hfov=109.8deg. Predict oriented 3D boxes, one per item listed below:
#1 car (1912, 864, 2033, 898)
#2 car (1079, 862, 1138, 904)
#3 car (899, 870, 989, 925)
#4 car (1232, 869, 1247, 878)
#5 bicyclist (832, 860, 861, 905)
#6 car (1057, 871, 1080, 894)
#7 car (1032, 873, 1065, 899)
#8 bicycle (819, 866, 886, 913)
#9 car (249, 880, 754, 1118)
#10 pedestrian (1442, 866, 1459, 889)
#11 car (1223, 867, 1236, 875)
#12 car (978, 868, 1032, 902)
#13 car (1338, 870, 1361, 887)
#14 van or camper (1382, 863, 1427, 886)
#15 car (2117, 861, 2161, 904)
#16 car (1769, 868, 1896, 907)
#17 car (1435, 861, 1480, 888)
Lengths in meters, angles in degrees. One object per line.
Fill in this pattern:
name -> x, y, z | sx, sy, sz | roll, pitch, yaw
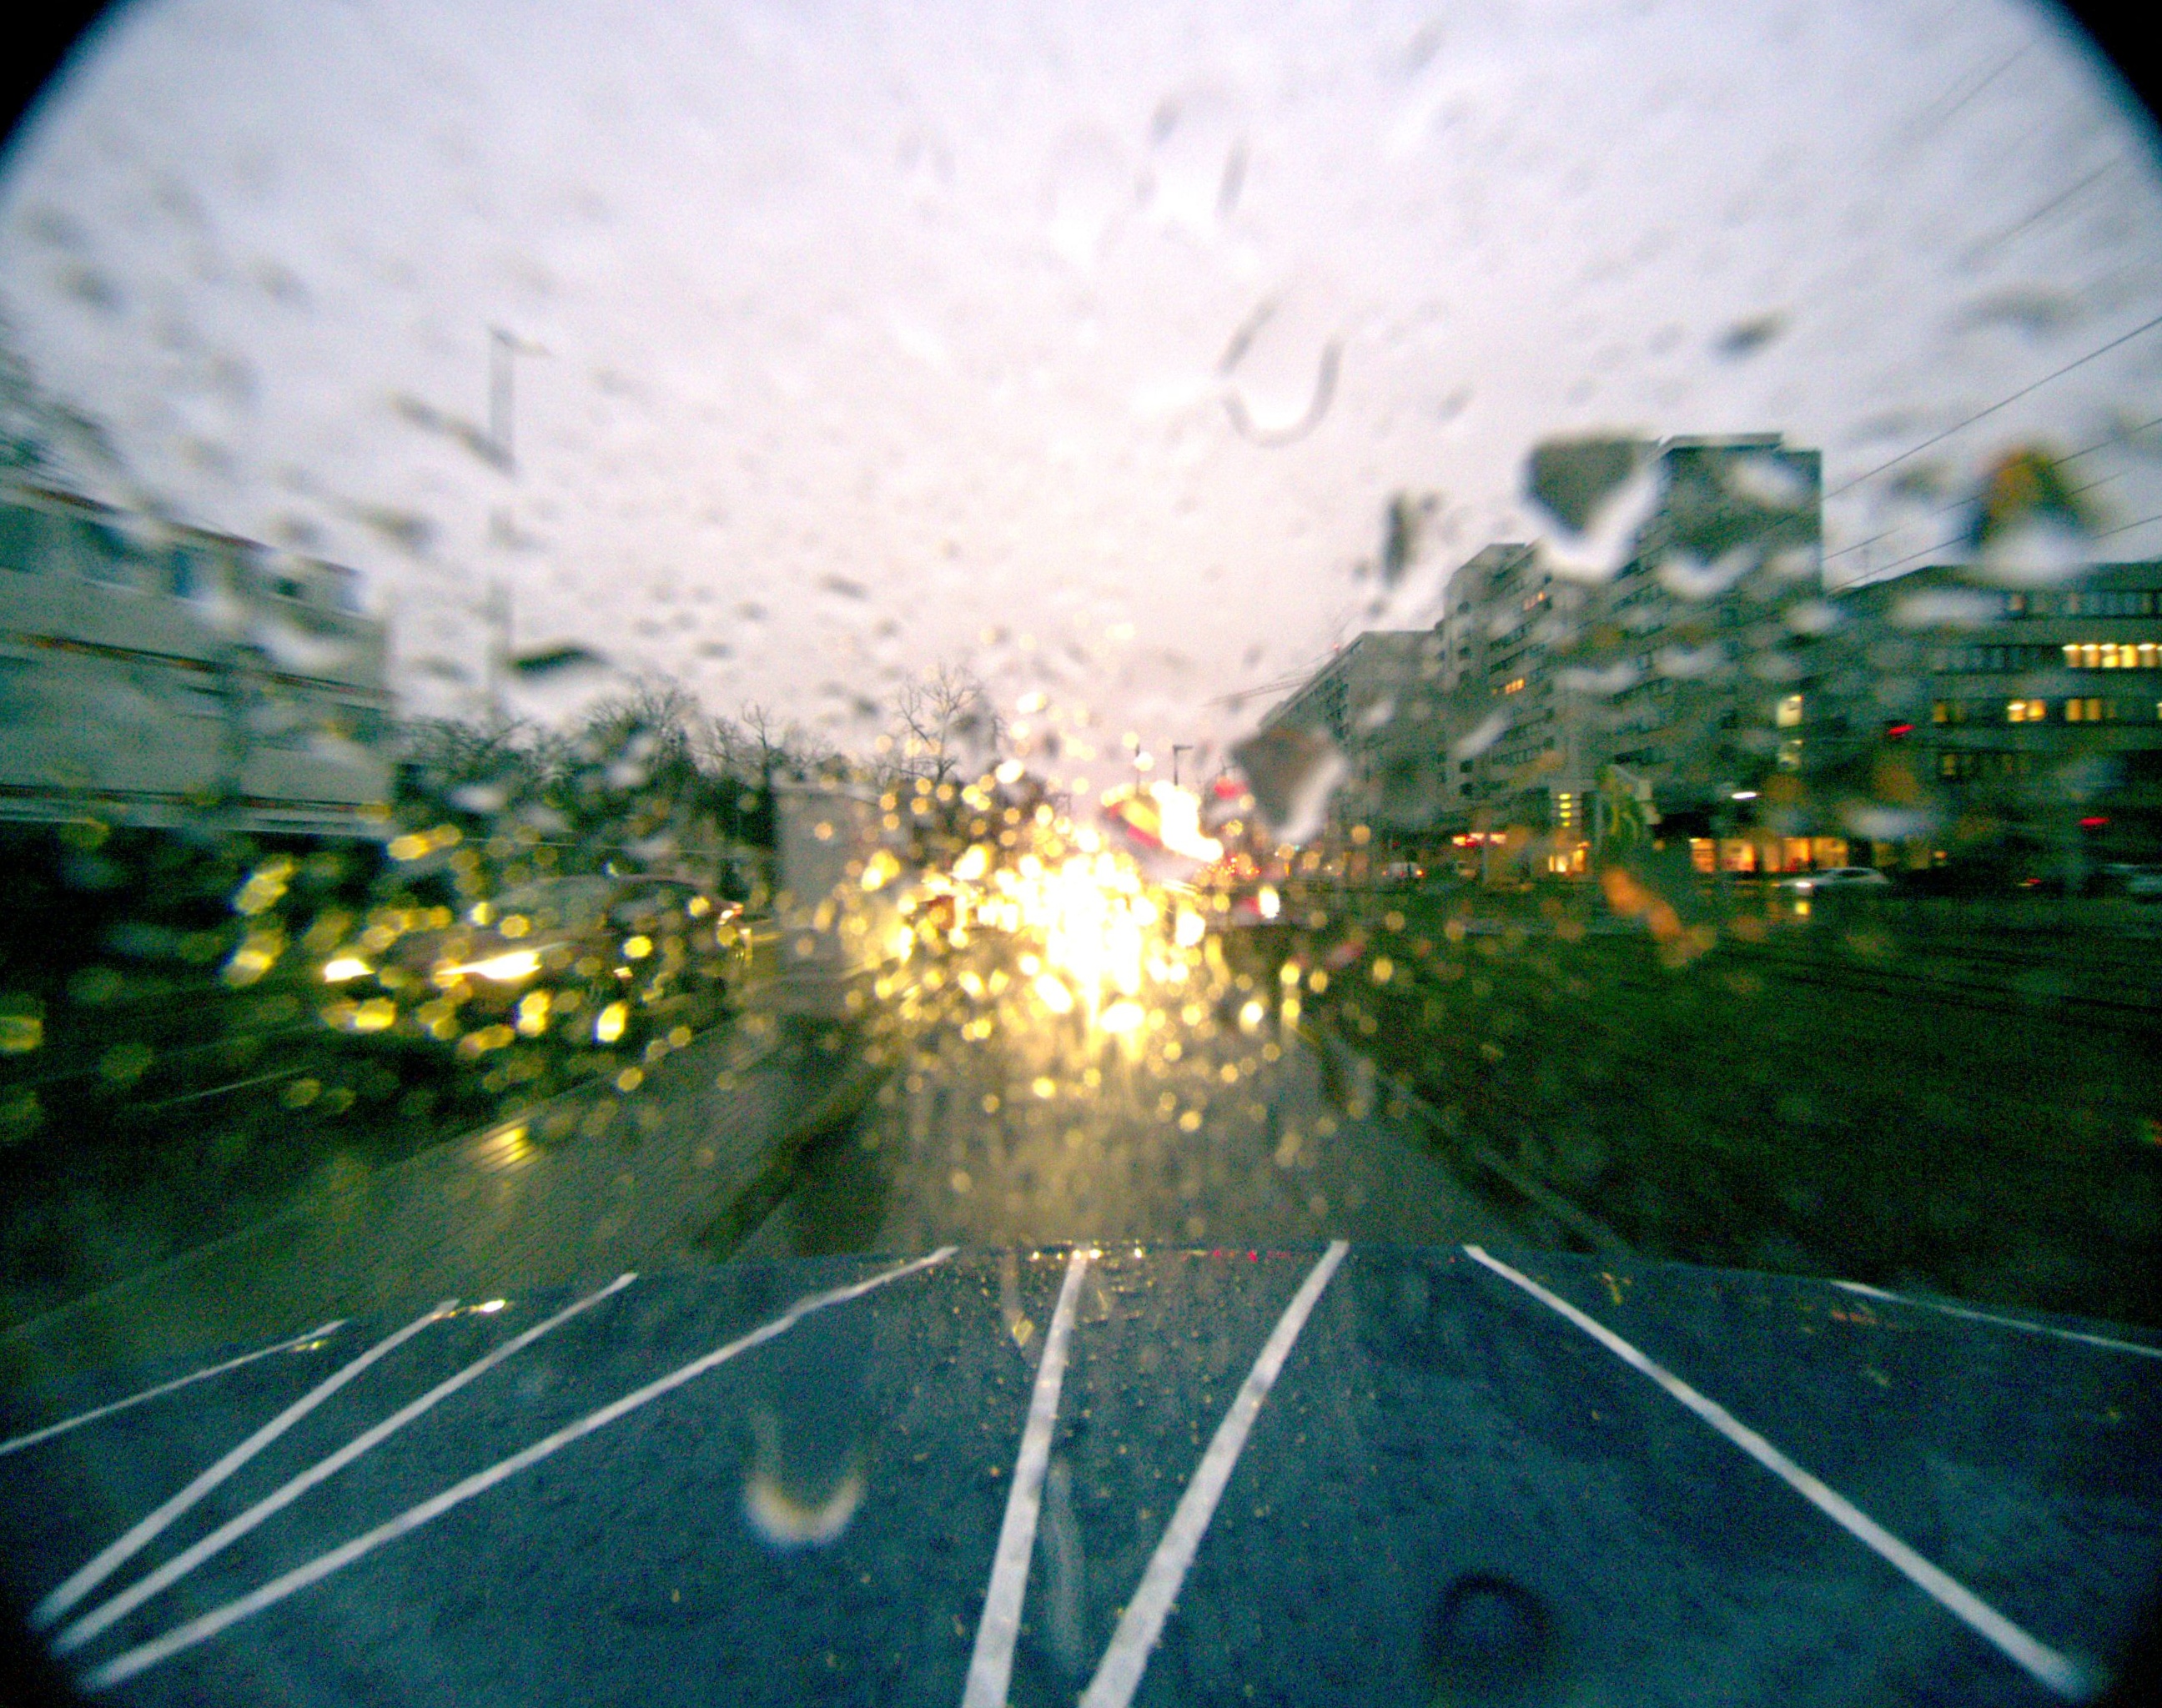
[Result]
car -> 44.597, 1.296, 38.116 | 1.622, 1.592, 3.637 | -1, 0, -9
car -> 1.085, 1.084, 30.141 | 2.160, 1.489, 4.008 | -1, 0, 1
car -> -4.439, 1.366, 25.416 | 1.791, 1.493, 4.968 | -1, 0, 3
car -> 26.461, 3.182, 126.862 | 1.754, 1.440, 3.873 | -1, 0, 0
bicyclist -> -8.806, 1.064, 28.526 | 0.817, 1.669, 0.698 | -1, 0, 6
car -> -0.967, 2.250, 61.654 | 1.678, 1.739, 3.865 | -1, 0, 2
car -> -2.151, 2.118, 50.849 | 1.880, 1.489, 4.078 | -1, 0, 2
bicycle -> -8.561, 1.312, 28.518 | 2.244, 1.647, 0.690 | -3, 0, 6
car -> -4.953, 1.092, 7.363 | 1.727, 1.470, 4.000 | -3, 0, 1
pedestrian -> 23.709, 1.501, 48.742 | 0.792, 1.481, 0.630 | -1, 0, -6
car -> 27.410, 3.103, 140.263 | 1.595, 1.440, 3.873 | -1, 0, 0
car -> -3.584, 1.459, 36.506 | 1.777, 1.453, 4.042 | -1, 0, 6
car -> 26.499, 2.416, 75.073 | 1.996, 1.536, 4.710 | -1, 0, 18
van or camper -> 30.729, 1.921, 72.309 | 1.998, 2.084, 5.655 | -1, -1, 2
car -> 41.766, 1.037, 28.328 | 3.835, 1.543, 1.778 | -1, 0, 0
car -> 33.949, 1.484, 34.388 | 3.997, 1.503, 1.685 | -3, 0, 0
car -> 31.486, 1.672, 63.473 | 1.995, 2.002, 4.581 | -2, 0, 44
